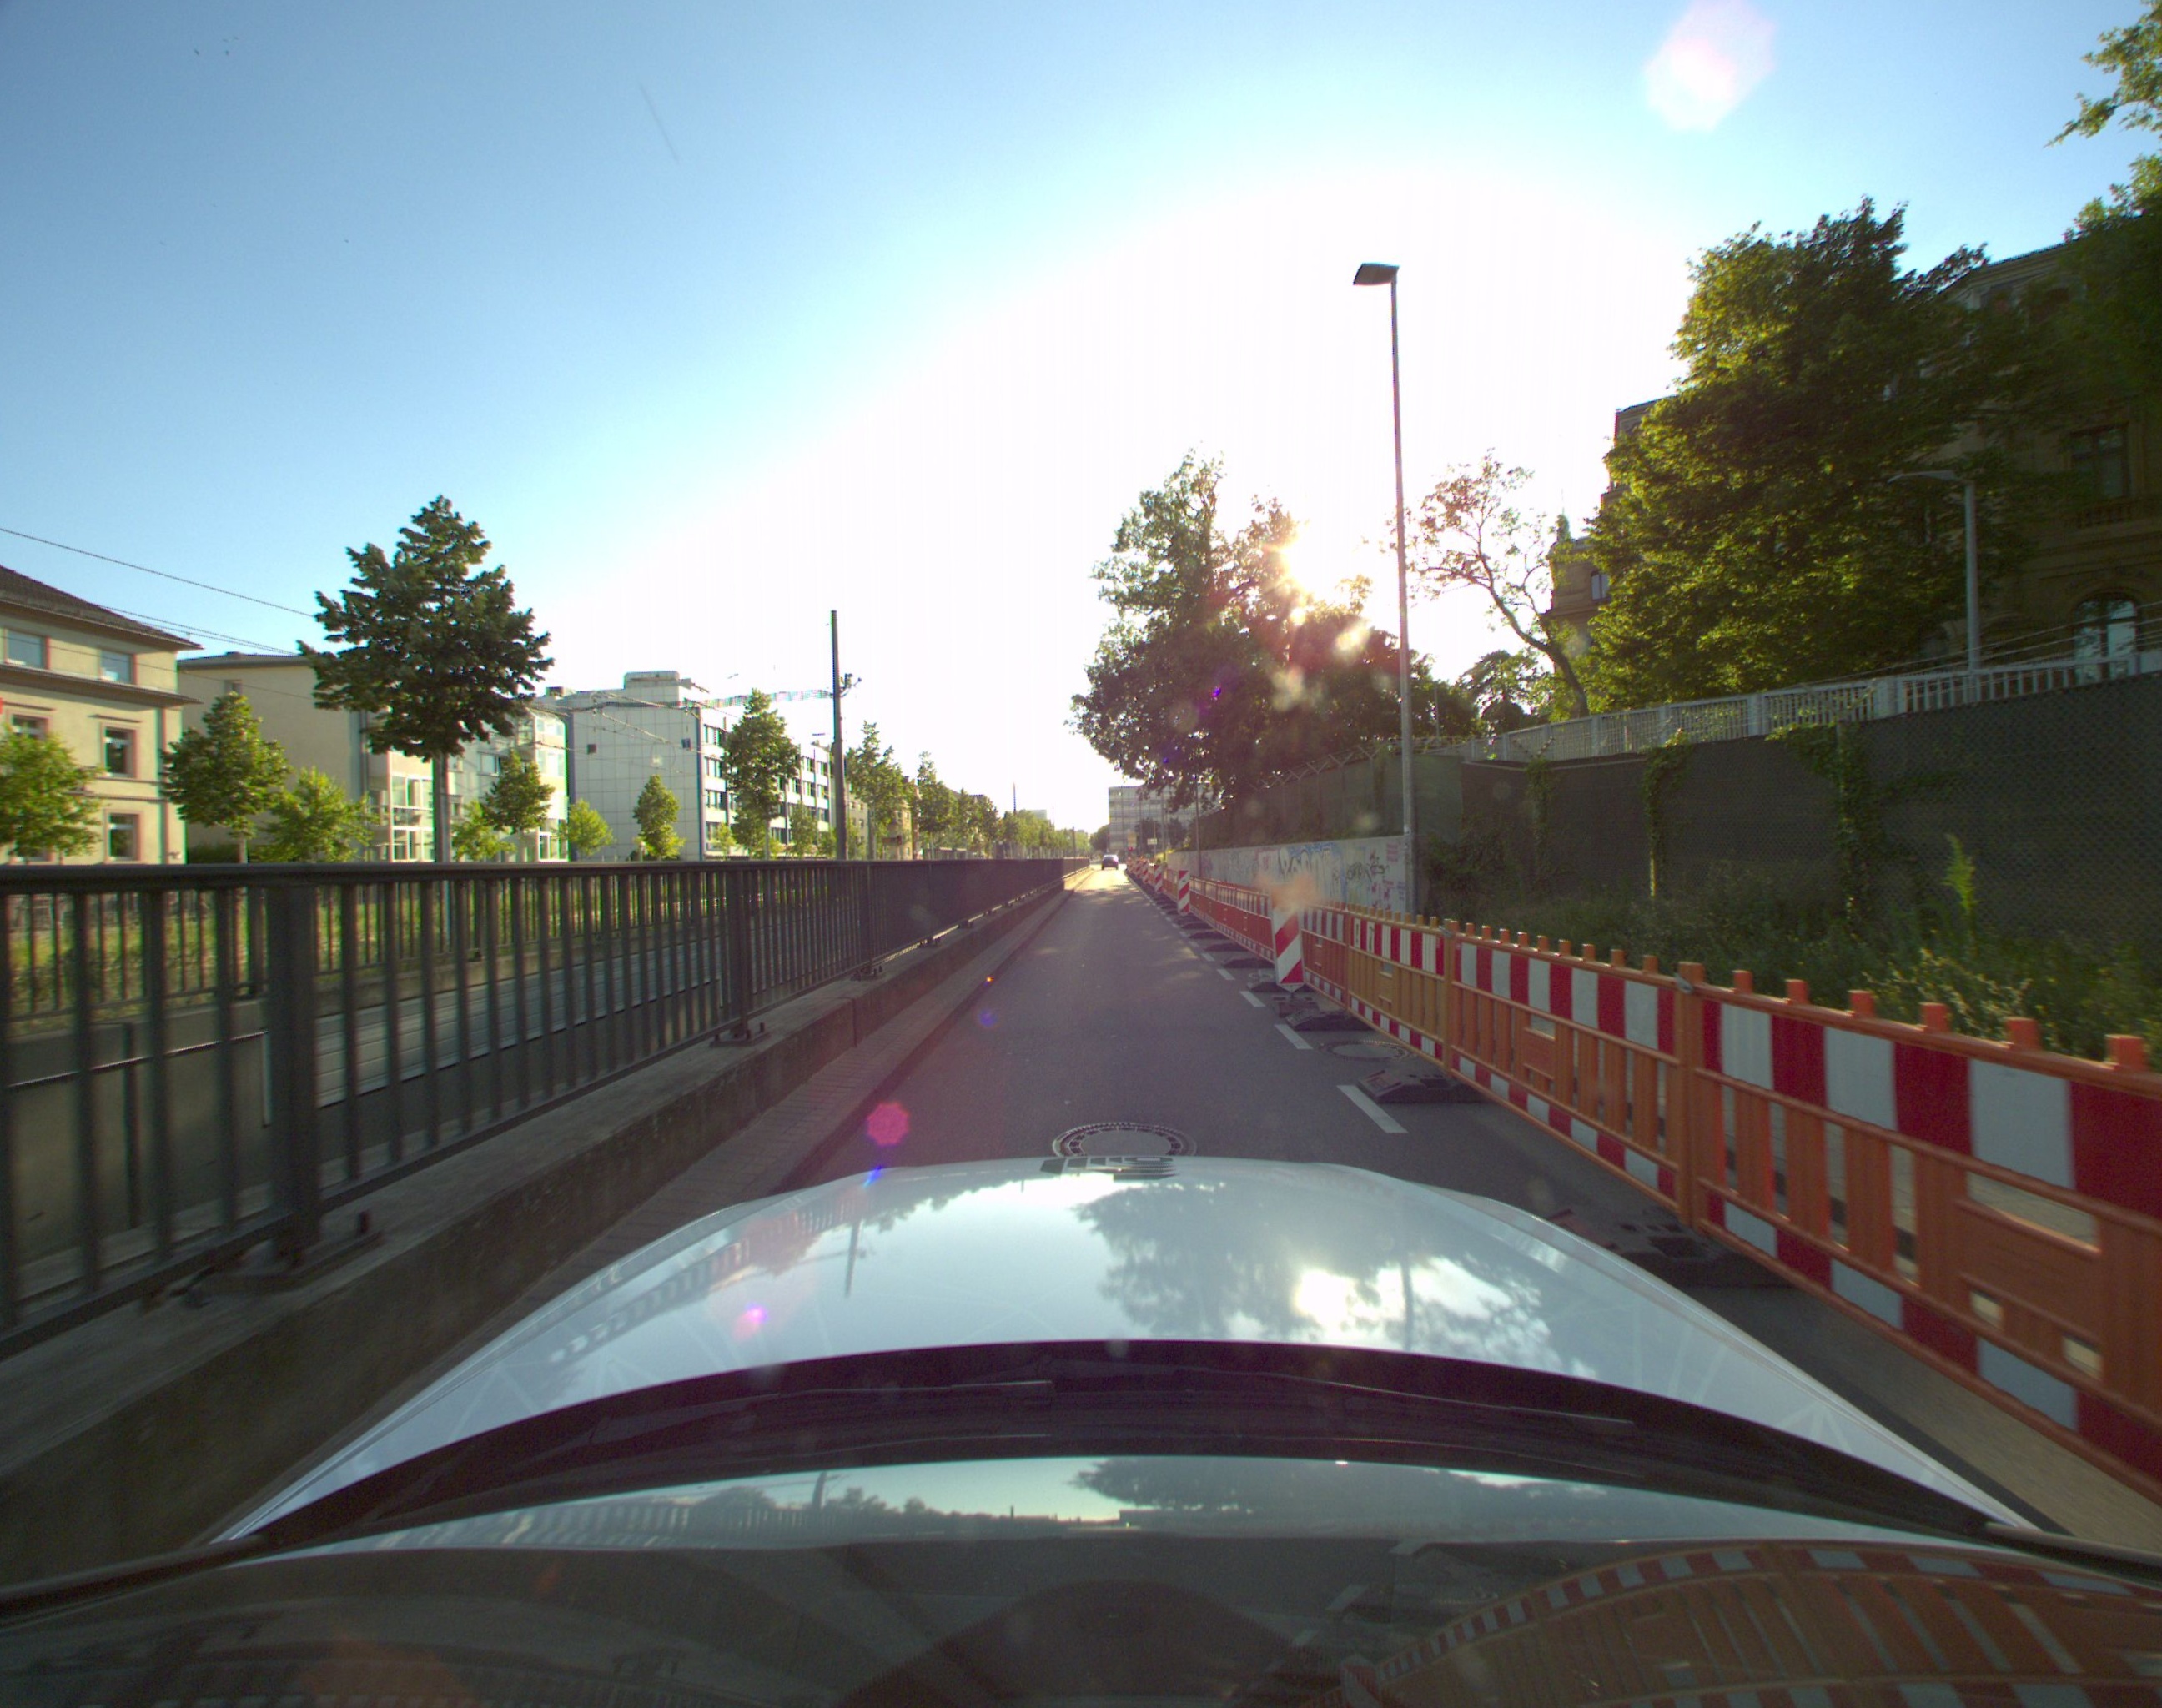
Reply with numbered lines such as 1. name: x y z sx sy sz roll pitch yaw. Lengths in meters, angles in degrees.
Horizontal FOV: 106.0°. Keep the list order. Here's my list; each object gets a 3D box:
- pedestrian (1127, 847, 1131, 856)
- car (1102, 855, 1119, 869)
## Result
1. pedestrian: 11.492 -0.549 196.384 0.887 2.112 0.719 -2 0 6
2. car: 3.504 0.931 97.364 1.997 1.659 4.002 0 -1 3
